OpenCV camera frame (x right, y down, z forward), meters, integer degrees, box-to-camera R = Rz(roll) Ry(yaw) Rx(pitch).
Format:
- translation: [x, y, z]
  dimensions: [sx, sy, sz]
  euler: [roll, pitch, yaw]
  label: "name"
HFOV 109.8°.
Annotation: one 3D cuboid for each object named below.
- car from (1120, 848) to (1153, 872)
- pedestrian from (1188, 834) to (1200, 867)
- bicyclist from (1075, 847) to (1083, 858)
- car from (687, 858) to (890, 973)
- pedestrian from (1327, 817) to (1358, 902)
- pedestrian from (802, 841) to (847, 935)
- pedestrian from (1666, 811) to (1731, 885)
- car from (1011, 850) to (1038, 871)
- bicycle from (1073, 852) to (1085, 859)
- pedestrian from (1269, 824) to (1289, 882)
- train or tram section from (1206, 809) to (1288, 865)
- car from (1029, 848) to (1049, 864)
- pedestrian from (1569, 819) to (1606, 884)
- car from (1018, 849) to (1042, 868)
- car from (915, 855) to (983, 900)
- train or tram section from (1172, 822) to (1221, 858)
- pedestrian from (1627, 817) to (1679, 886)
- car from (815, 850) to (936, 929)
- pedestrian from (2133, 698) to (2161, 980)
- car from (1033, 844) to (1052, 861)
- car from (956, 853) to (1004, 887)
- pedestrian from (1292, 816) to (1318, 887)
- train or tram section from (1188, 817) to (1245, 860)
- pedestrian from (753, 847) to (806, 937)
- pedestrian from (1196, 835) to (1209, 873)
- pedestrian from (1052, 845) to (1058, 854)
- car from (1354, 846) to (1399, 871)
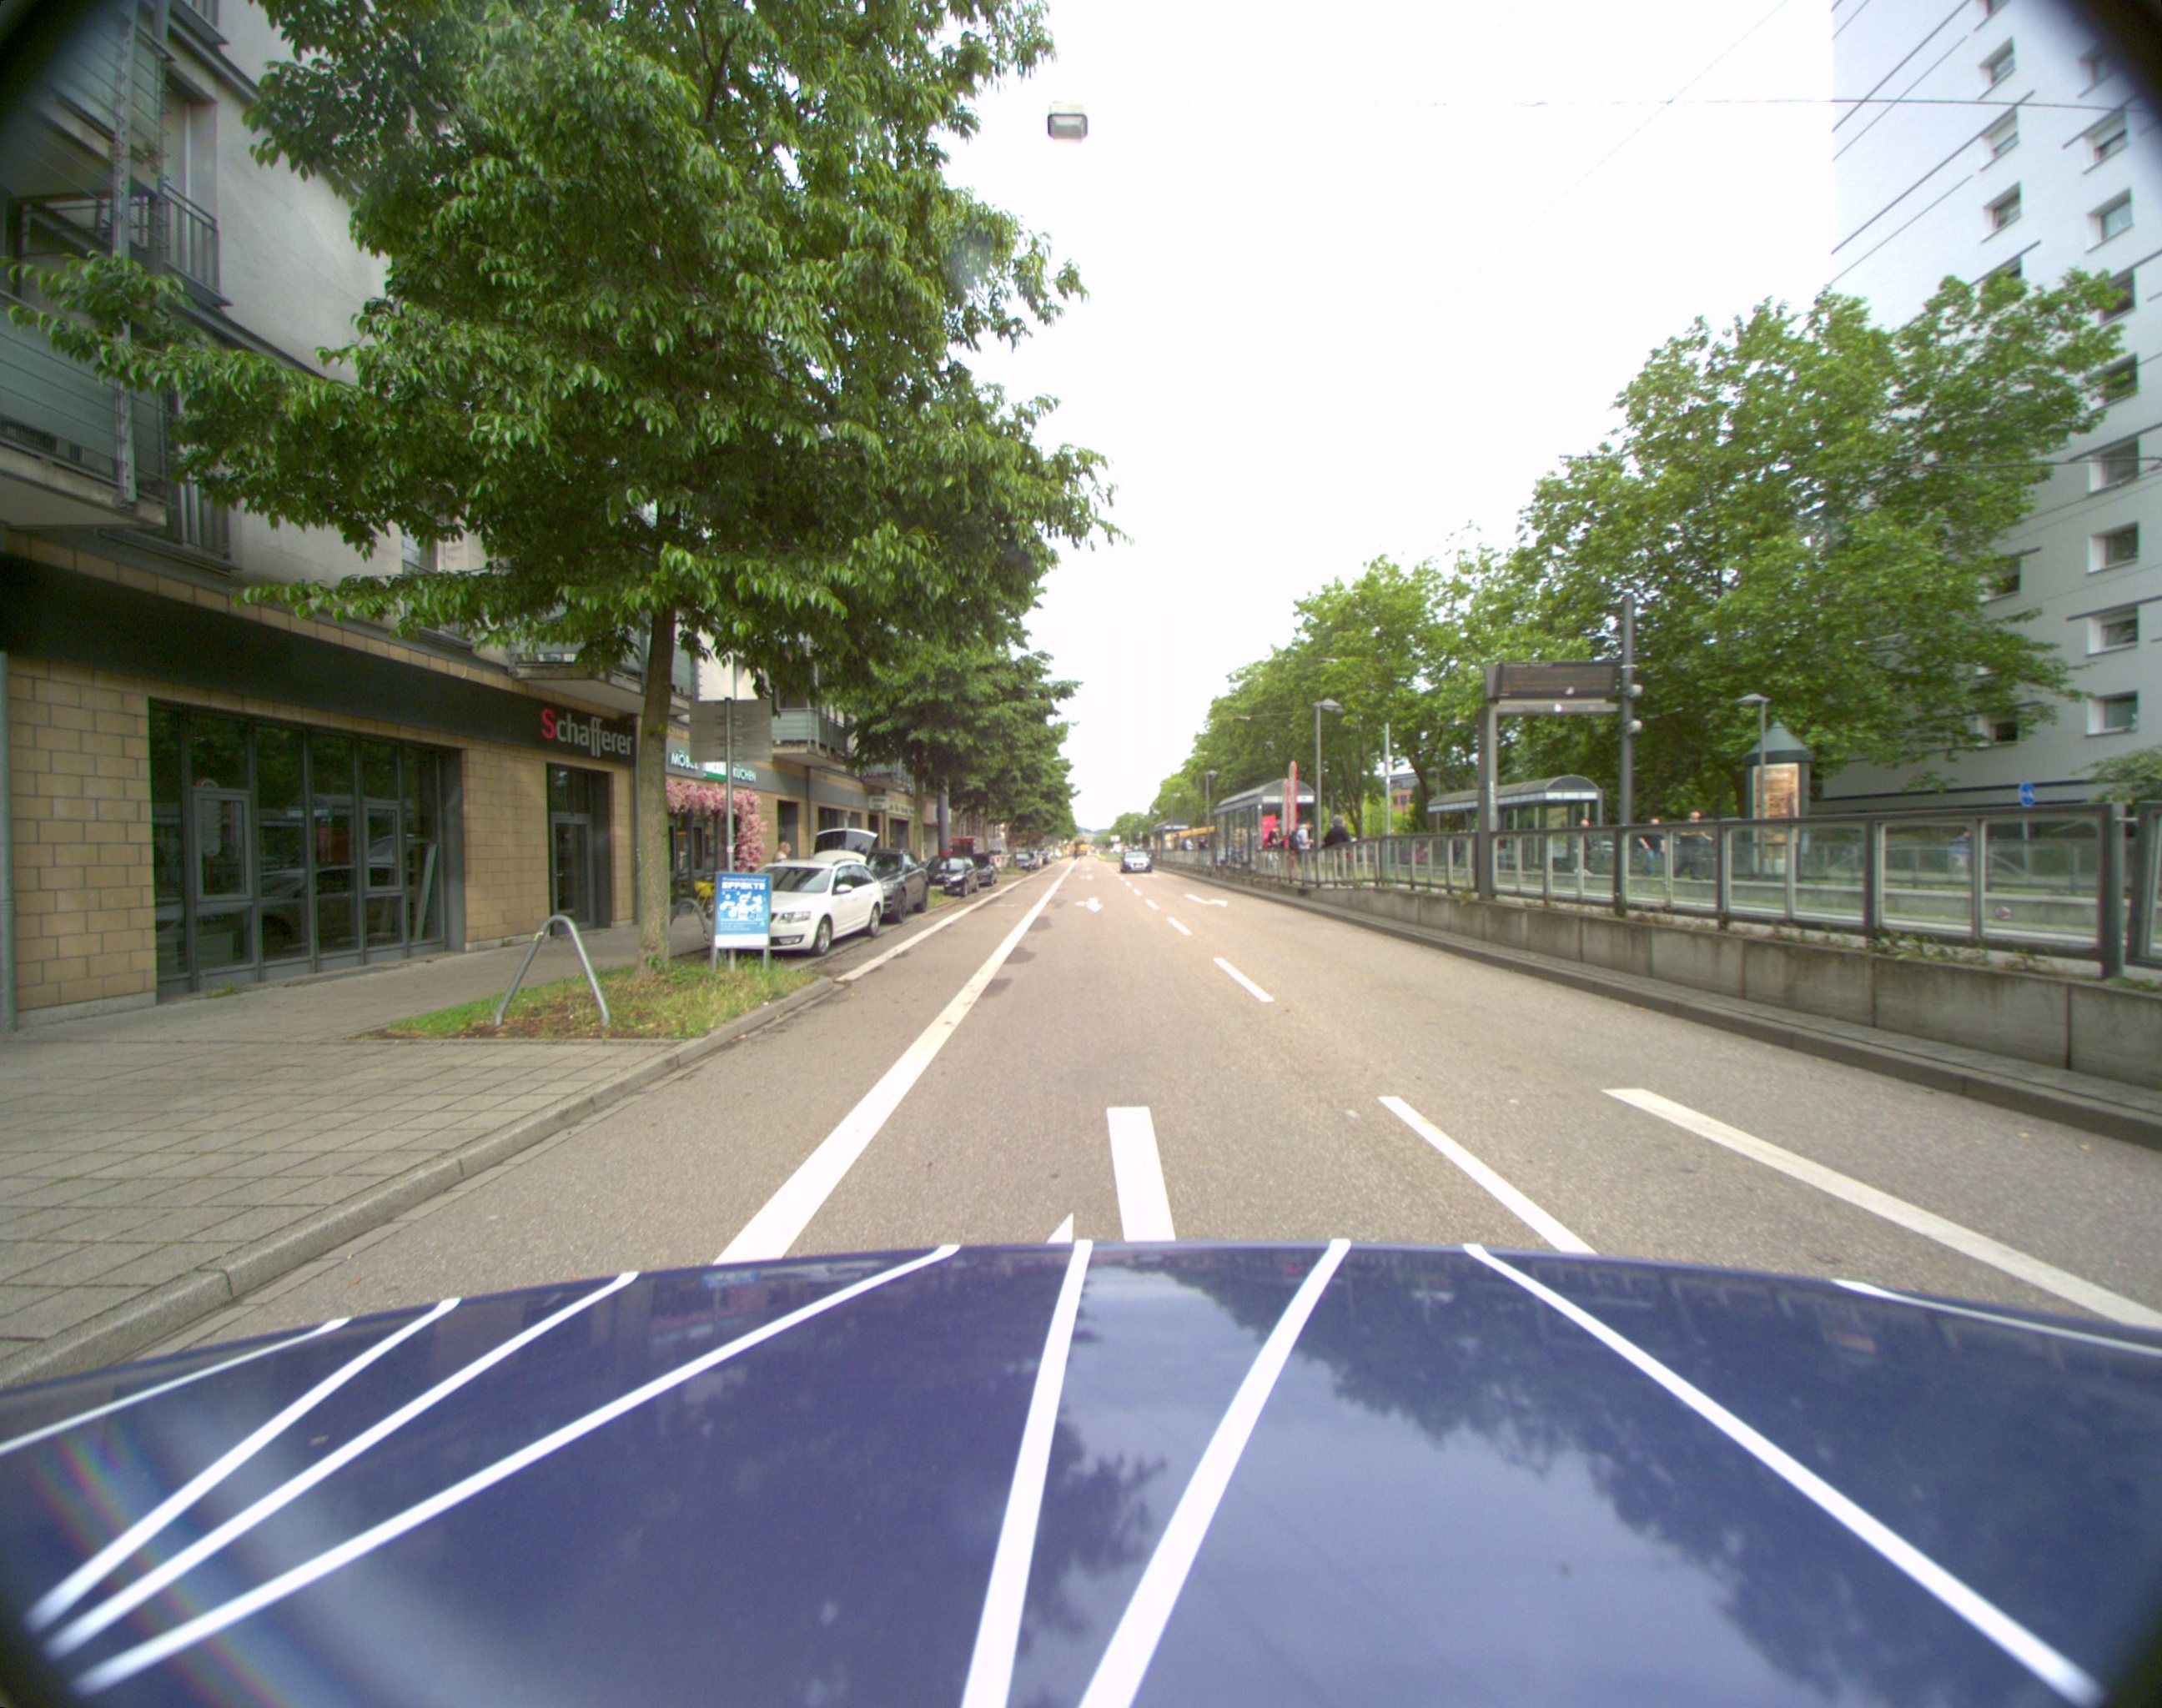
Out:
- translation: [3.413, 0.343, 47.409]
  dimensions: [1.716, 1.379, 4.099]
  euler: [-2, 1, 1]
  label: "car"
- translation: [6.139, -0.184, 41.340]
  dimensions: [0.530, 1.794, 0.606]
  euler: [-2, 1, 14]
  label: "pedestrian"
- translation: [-0.304, -0.190, 106.422]
  dimensions: [0.810, 1.458, 0.728]
  euler: [0, 1, 44]
  label: "bicyclist"
- translation: [-4.720, 0.897, 13.001]
  dimensions: [1.738, 1.512, 4.308]
  euler: [2, 1, 1]
  label: "car"
- translation: [5.705, 0.116, 16.580]
  dimensions: [0.521, 1.794, 0.605]
  euler: [-2, 1, 13]
  label: "pedestrian"
- translation: [-5.280, 0.685, 15.659]
  dimensions: [0.656, 1.873, 0.599]
  euler: [-1, 1, 1]
  label: "pedestrian"
- translation: [15.118, -0.156, 18.620]
  dimensions: [0.882, 1.746, 0.850]
  euler: [-2, 1, 1]
  label: "pedestrian"
- translation: [-4.165, 0.472, 56.255]
  dimensions: [1.612, 1.393, 3.667]
  euler: [2, 1, 1]
  label: "car"
- translation: [-0.331, 0.236, 106.476]
  dimensions: [1.777, 0.925, 0.492]
  euler: [-1, 1, 44]
  label: "bicycle"
- translation: [6.311, -0.032, 24.199]
  dimensions: [0.474, 1.794, 0.606]
  euler: [-2, 1, 26]
  label: "pedestrian"
- translation: [12.817, -1.281, 60.553]
  dimensions: [3.338, 3.731, 15.201]
  euler: [-2, 1, 1]
  label: "train or tram section"
- translation: [-3.970, 0.200, 72.451]
  dimensions: [1.612, 1.393, 3.667]
  euler: [2, 1, 1]
  label: "car"
- translation: [15.380, -0.071, 23.083]
  dimensions: [0.699, 1.919, 0.554]
  euler: [-2, 1, 1]
  label: "pedestrian"
- translation: [-4.125, 0.356, 62.165]
  dimensions: [1.612, 1.393, 3.667]
  euler: [2, 1, 1]
  label: "car"
- translation: [-4.638, 0.789, 27.276]
  dimensions: [1.612, 1.370, 4.167]
  euler: [2, 1, 1]
  label: "car"
- translation: [13.197, -1.615, 88.781]
  dimensions: [3.338, 3.731, 16.247]
  euler: [-2, 1, 1]
  label: "train or tram section"
- translation: [15.728, -0.064, 20.899]
  dimensions: [0.882, 1.823, 0.666]
  euler: [-2, 1, 1]
  label: "pedestrian"
- translation: [-4.717, 0.737, 18.004]
  dimensions: [1.738, 1.601, 3.798]
  euler: [2, 1, 1]
  label: "car"
- translation: [6.703, -0.092, 4.090]
  dimensions: [0.720, 1.661, 0.979]
  euler: [-2, 1, 3]
  label: "pedestrian"
- translation: [-3.964, -0.150, 78.221]
  dimensions: [1.612, 1.674, 3.806]
  euler: [2, 1, 1]
  label: "car"
- translation: [-4.558, 0.679, 34.737]
  dimensions: [1.612, 1.393, 3.667]
  euler: [2, 1, 1]
  label: "car"
- translation: [5.746, -0.067, 19.482]
  dimensions: [0.475, 1.794, 0.605]
  euler: [-2, 1, 5]
  label: "pedestrian"
- translation: [13.025, -1.446, 74.443]
  dimensions: [3.338, 3.731, 12.547]
  euler: [-2, 1, 1]
  label: "train or tram section"
- translation: [-5.964, 0.727, 15.048]
  dimensions: [0.616, 1.707, 0.739]
  euler: [1, 1, 25]
  label: "pedestrian"
- translation: [5.846, -0.006, 36.523]
  dimensions: [0.530, 1.794, 0.606]
  euler: [-2, 1, 14]
  label: "pedestrian"
- translation: [-5.898, -0.974, 174.239]
  dimensions: [1.216, 2.002, 1.142]
  euler: [-1, 1, 1]
  label: "pedestrian"
- translation: [17.378, 0.248, 44.762]
  dimensions: [1.581, 1.420, 3.220]
  euler: [-1, 1, 4]
  label: "car"
